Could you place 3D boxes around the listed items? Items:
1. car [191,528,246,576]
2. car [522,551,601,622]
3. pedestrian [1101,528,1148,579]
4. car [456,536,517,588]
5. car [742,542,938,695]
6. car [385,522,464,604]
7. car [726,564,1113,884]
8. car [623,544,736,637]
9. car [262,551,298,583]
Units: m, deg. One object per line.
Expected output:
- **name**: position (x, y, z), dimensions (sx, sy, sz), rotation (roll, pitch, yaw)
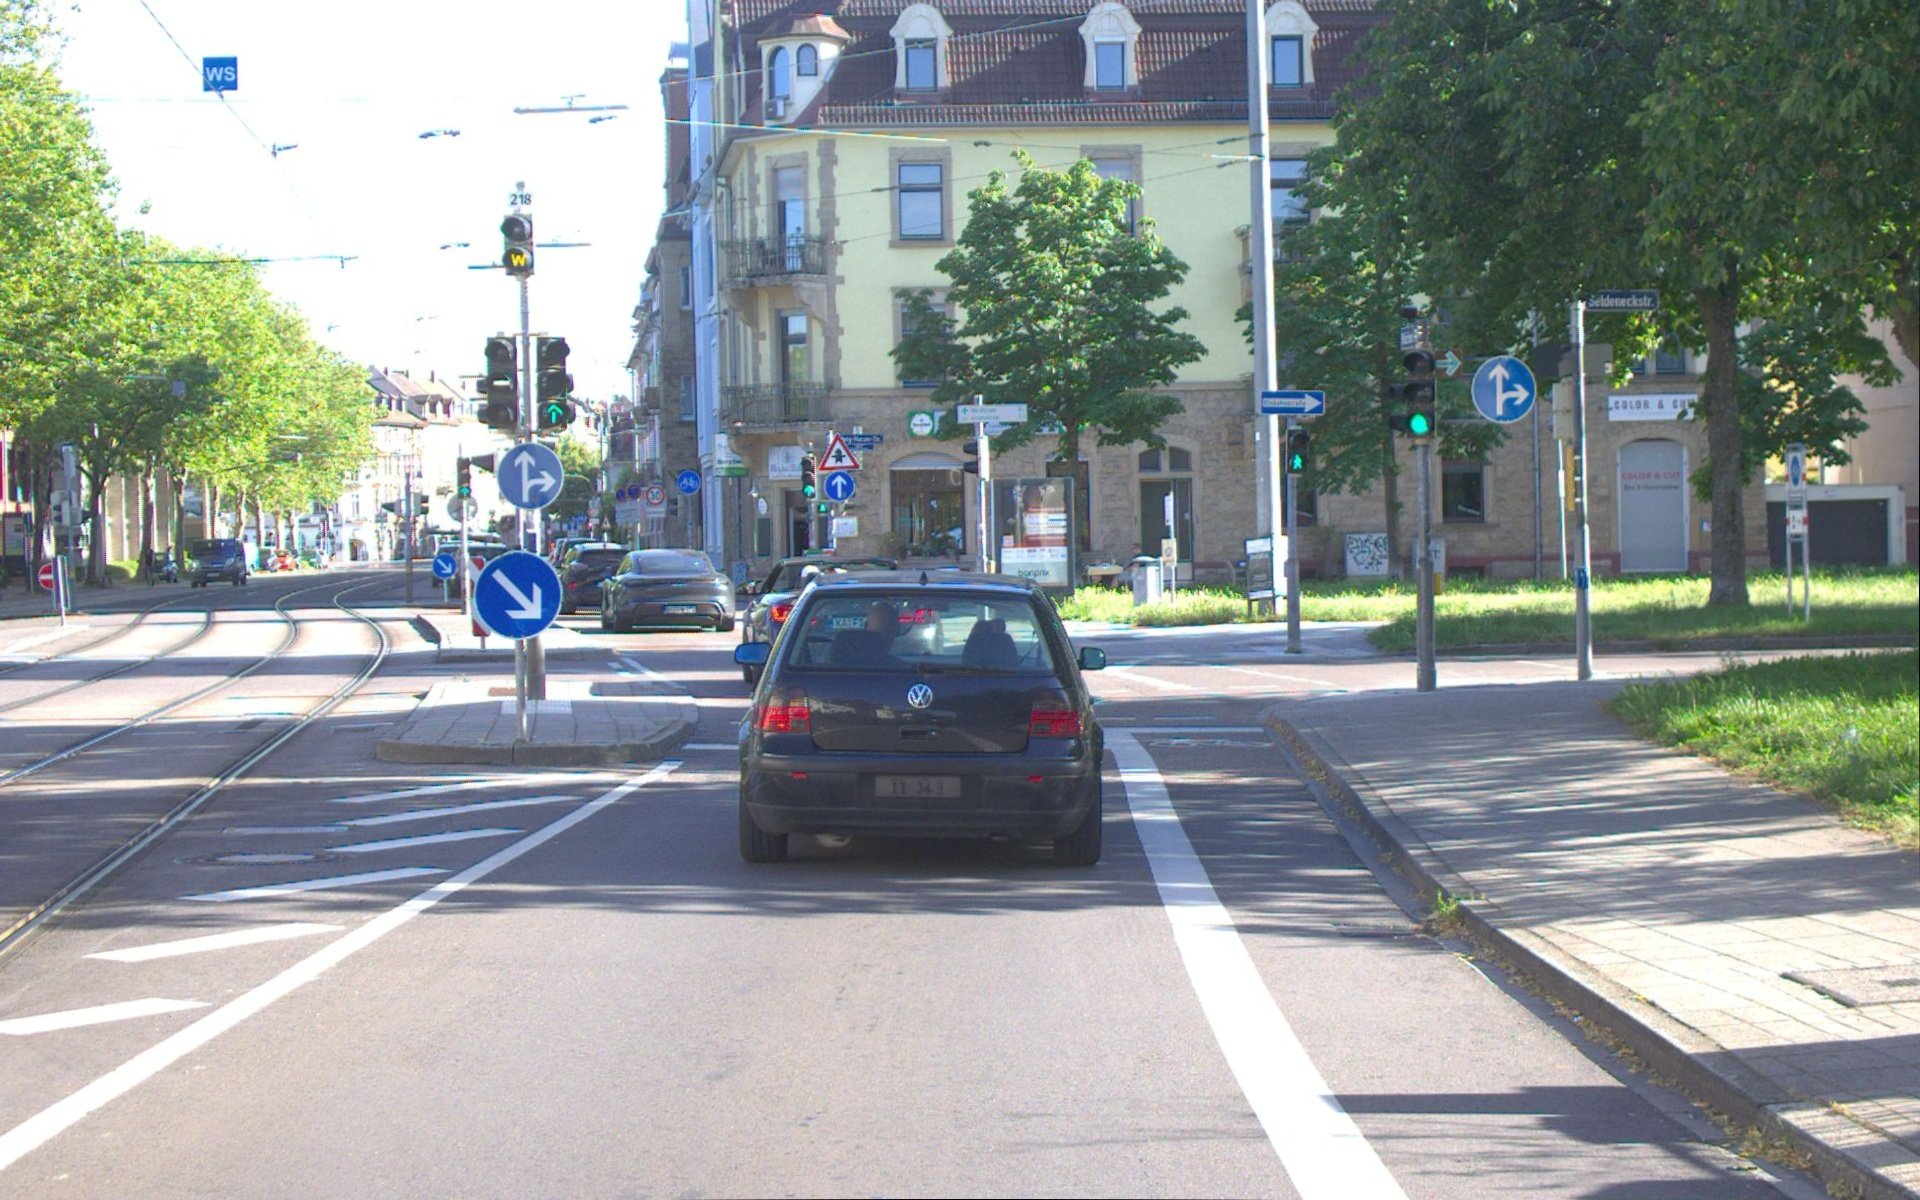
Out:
- **car**: position (-29.434, -1.910, 136.532), dimensions (1.971, 1.809, 4.298), rotation (-2, 1, -11)
- **car**: position (-8.673, -0.311, 74.699), dimensions (1.569, 1.306, 3.501), rotation (-2, 4, -8)
- **pedestrian**: position (3.916, -1.106, 82.009), dimensions (0.979, 1.183, 0.743), rotation (-1, 1, -7)
- **car**: position (-13.770, -1.121, 99.816), dimensions (1.680, 1.448, 3.380), rotation (-2, 1, -8)
- **car**: position (-1.232, 0.136, 33.844), dimensions (1.634, 1.367, 3.758), rotation (-2, 1, -6)
- **car**: position (-12.786, -0.900, 82.180), dimensions (1.787, 1.853, 4.001), rotation (-1, 1, -8)
- **car**: position (-0.168, 0.532, 17.327), dimensions (1.716, 1.398, 4.006), rotation (0, 1, 0)
- **car**: position (-4.692, -0.190, 57.217), dimensions (1.569, 1.306, 3.648), rotation (-2, 4, -9)
- **car**: position (-44.116, -2.129, 223.079), dimensions (1.993, 2.007, 4.001), rotation (-1, 0, -8)
